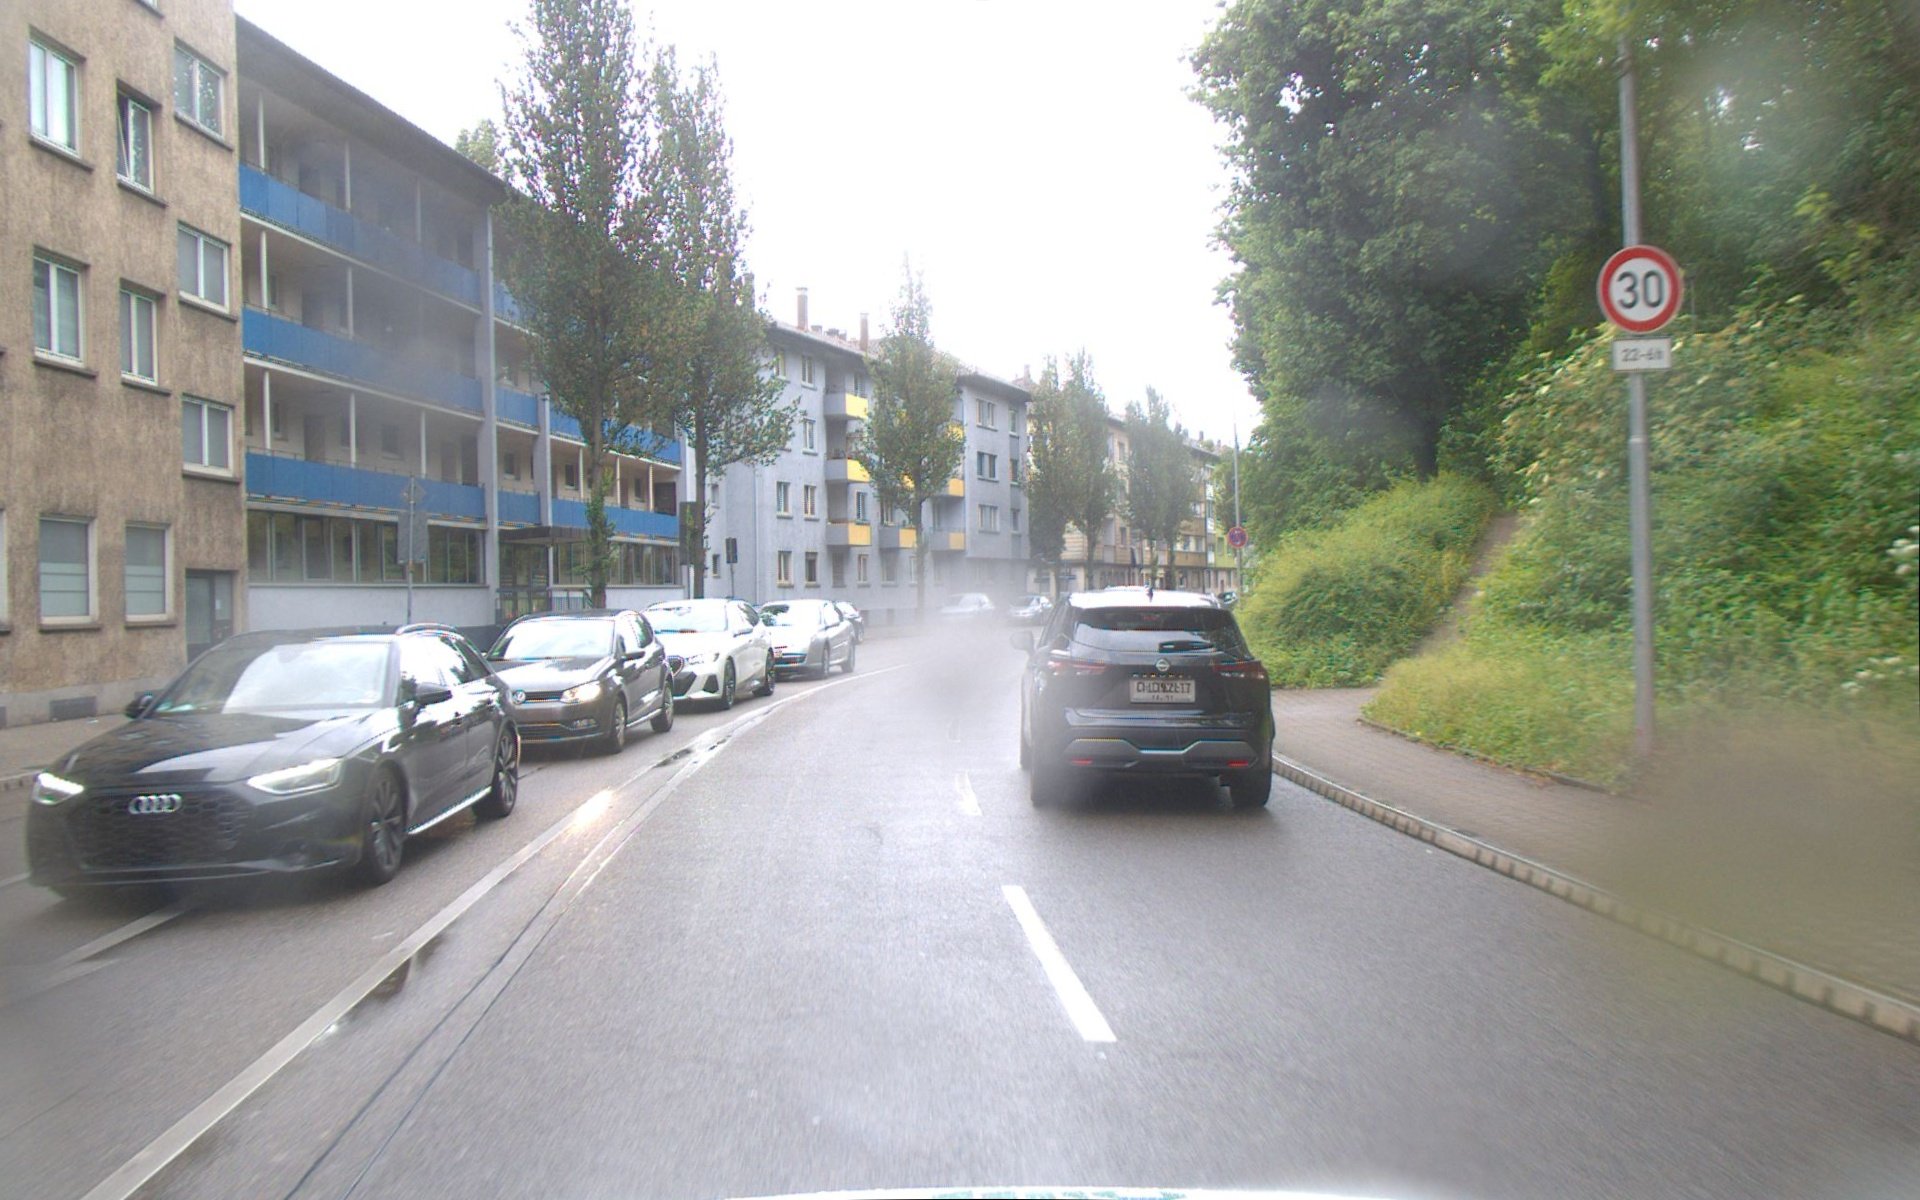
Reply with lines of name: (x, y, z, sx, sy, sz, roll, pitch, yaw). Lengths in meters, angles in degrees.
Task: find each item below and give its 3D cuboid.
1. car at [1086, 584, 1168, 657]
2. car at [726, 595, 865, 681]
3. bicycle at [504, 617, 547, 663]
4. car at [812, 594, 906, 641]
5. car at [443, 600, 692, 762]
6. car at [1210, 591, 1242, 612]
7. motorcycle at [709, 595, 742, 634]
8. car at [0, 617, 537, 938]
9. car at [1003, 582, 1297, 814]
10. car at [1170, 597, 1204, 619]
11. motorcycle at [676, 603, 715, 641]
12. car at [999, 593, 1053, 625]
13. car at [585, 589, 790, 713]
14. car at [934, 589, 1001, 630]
car: (4.264, 0.480, 41.707, 1.847, 1.741, 4.003, -1, 0, 8)
car: (-3.051, 0.667, 31.560, 1.715, 1.450, 4.540, -2, 0, 6)
bicycle: (-10.502, 0.964, 40.037, 0.600, 1.041, 1.733, -2, 0, -2)
car: (-3.456, 0.586, 57.400, 1.782, 1.464, 4.896, -3, -1, 14)
car: (-4.103, 0.784, 17.890, 1.645, 1.472, 3.821, -3, 0, 1)
car: (21.631, 0.135, 134.244, 1.683, 1.514, 4.516, -3, 0, 20)
motorcycle: (-8.836, 0.528, 62.363, 0.661, 1.438, 2.238, 1, 0, 7)
car: (-4.070, 0.882, 10.303, 1.754, 1.431, 4.624, -2, 0, -2)
car: (1.395, 0.667, 13.650, 1.808, 1.610, 3.998, 0, 1, -3)
car: (16.414, 0.576, 119.622, 1.592, 1.411, 3.989, -2, 0, 20)
motorcycle: (-9.306, 0.775, 58.193, 0.660, 1.276, 2.238, 1, 1, 10)
car: (3.285, 0.411, 81.747, 1.688, 1.478, 4.208, -2, 0, 16)
car: (-3.855, 0.660, 24.355, 1.782, 1.543, 5.031, -3, 0, 4)
car: (0.353, 0.405, 71.455, 1.726, 1.632, 4.537, -2, 0, 15)
